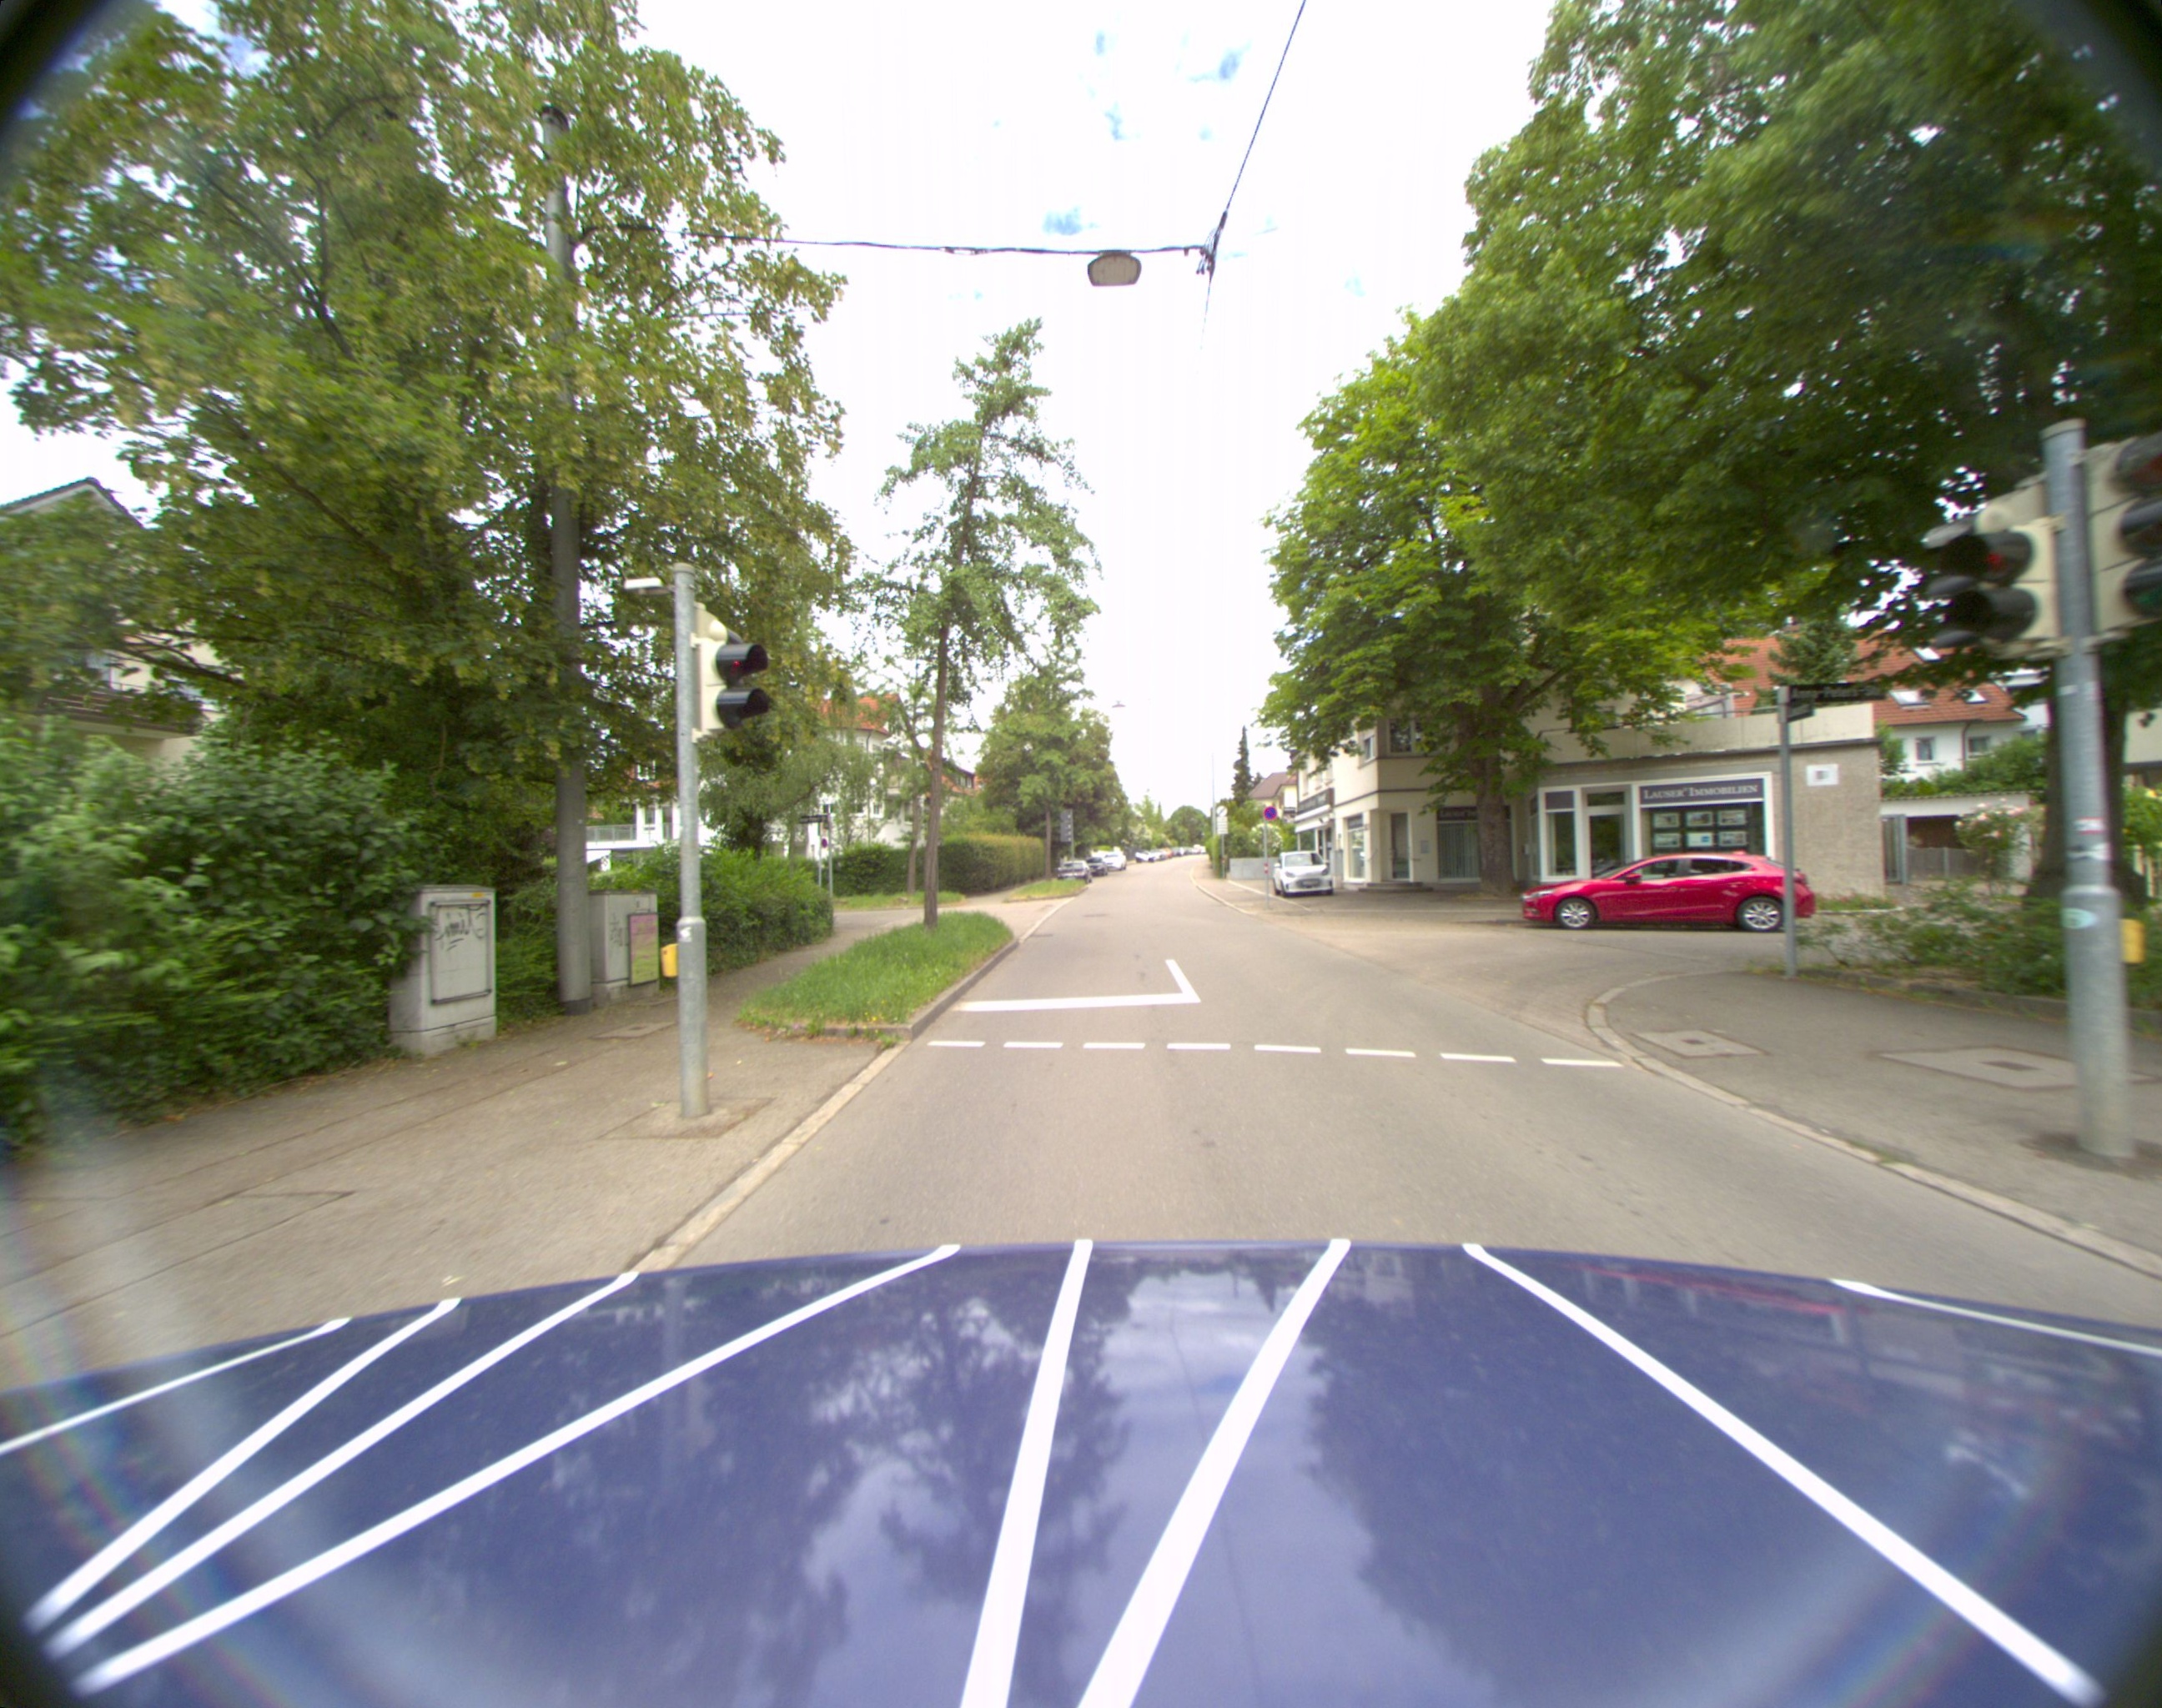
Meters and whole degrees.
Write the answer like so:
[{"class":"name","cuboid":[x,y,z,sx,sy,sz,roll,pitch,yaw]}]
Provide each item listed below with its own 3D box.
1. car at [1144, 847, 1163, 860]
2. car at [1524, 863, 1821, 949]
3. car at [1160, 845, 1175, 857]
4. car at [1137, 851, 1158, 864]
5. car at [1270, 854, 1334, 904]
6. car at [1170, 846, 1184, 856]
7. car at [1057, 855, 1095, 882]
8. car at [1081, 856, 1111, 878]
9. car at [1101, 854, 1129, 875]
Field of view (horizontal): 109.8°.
[{"class":"car","cuboid":[9.690,-0.117,101.156,1.832,1.614,4.495,-2,1,13]},{"class":"car","cuboid":[10.929,0.948,14.477,4.222,1.423,1.820,-2,-3,32]},{"class":"car","cuboid":[12.965,-0.419,113.822,1.853,1.617,4.172,-3,1,12]},{"class":"car","cuboid":[8.110,0.407,93.149,2.290,1.515,1.319,-1,0,18]},{"class":"car","cuboid":[7.666,0.838,26.610,1.592,1.529,2.925,-4,0,6]},{"class":"car","cuboid":[15.966,-0.491,126.752,1.953,1.617,4.379,-3,1,11]},{"class":"car","cuboid":[-0.247,0.829,45.384,1.713,1.404,3.792,-4,1,7]},{"class":"car","cuboid":[1.164,0.921,56.469,1.713,1.479,3.792,-2,1,8]},{"class":"car","cuboid":[3.078,0.884,67.338,1.868,1.675,4.353,-2,1,10]}]
